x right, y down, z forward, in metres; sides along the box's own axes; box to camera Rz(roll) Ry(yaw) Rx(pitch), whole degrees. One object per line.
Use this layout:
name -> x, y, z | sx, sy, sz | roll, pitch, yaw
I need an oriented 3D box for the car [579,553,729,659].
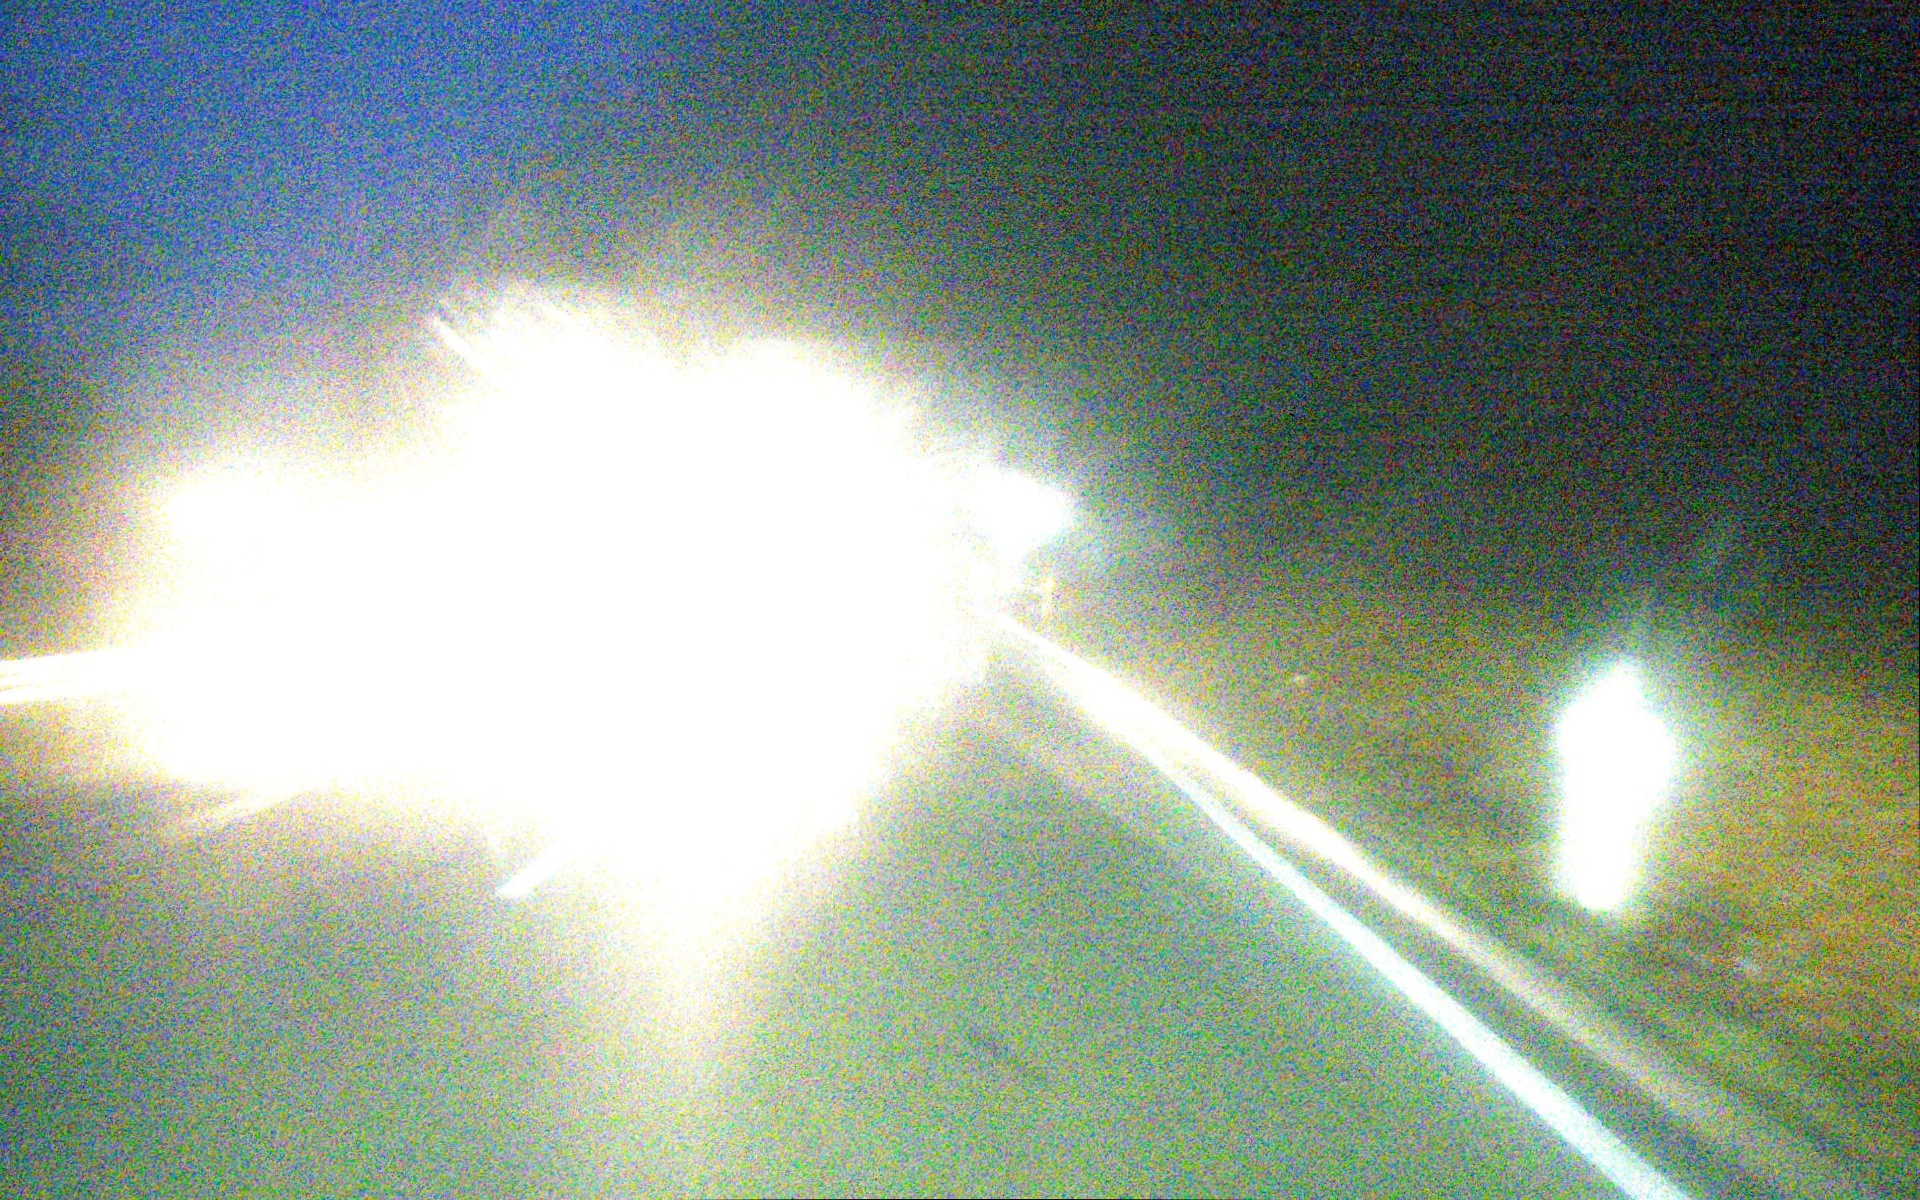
car -> -4.492, 0.058, 50.939 | 1.993, 1.452, 4.099 | -2, 1, -3
